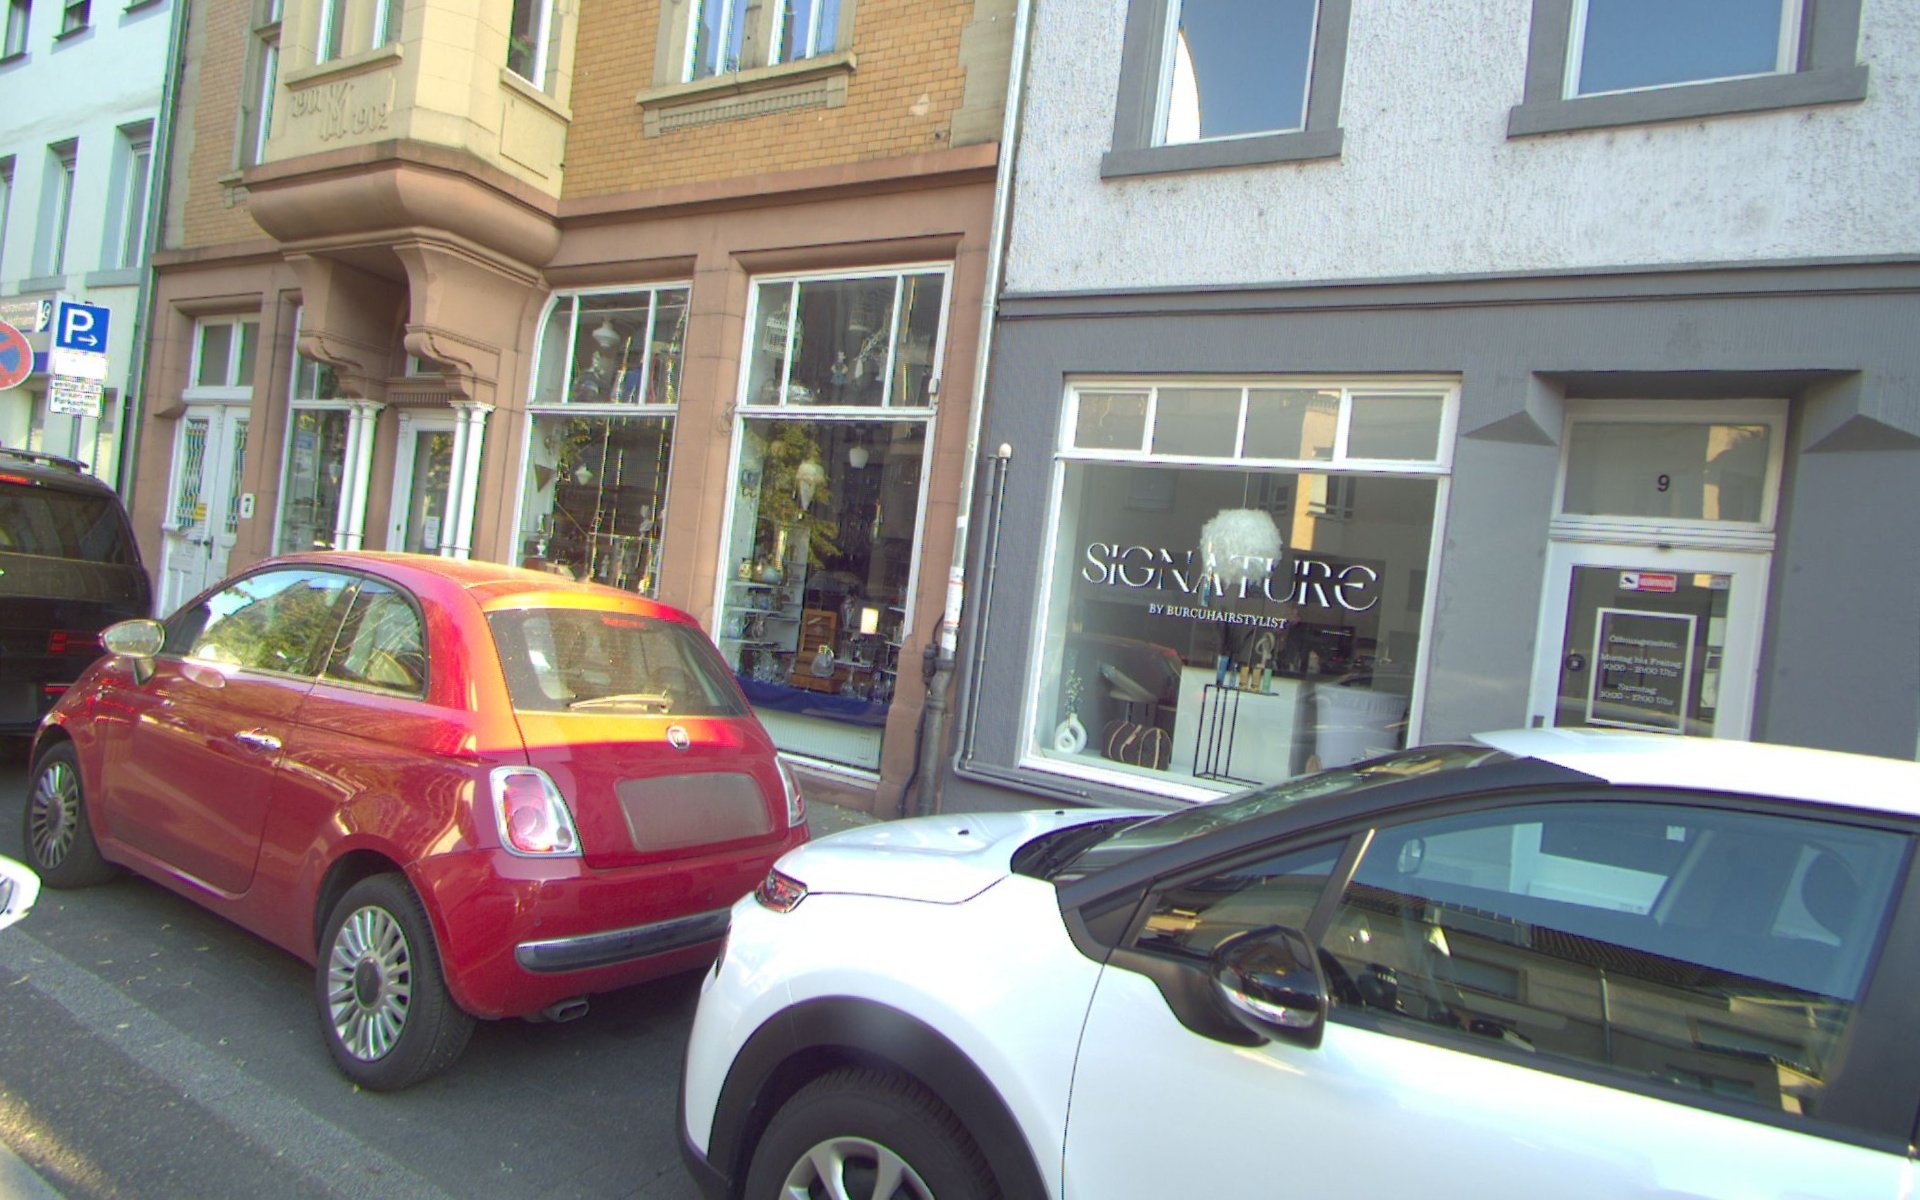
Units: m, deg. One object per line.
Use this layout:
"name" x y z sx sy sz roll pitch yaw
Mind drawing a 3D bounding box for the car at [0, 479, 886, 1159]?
"car" -2.193 0.516 4.037 3.364 1.588 1.529 7 -1 31

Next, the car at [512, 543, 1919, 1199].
"car" 1.138 0.928 2.048 3.868 1.591 1.666 6 -2 30

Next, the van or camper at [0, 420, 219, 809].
"van or camper" -6.533 -0.157 5.532 4.380 1.829 1.895 7 -1 24
